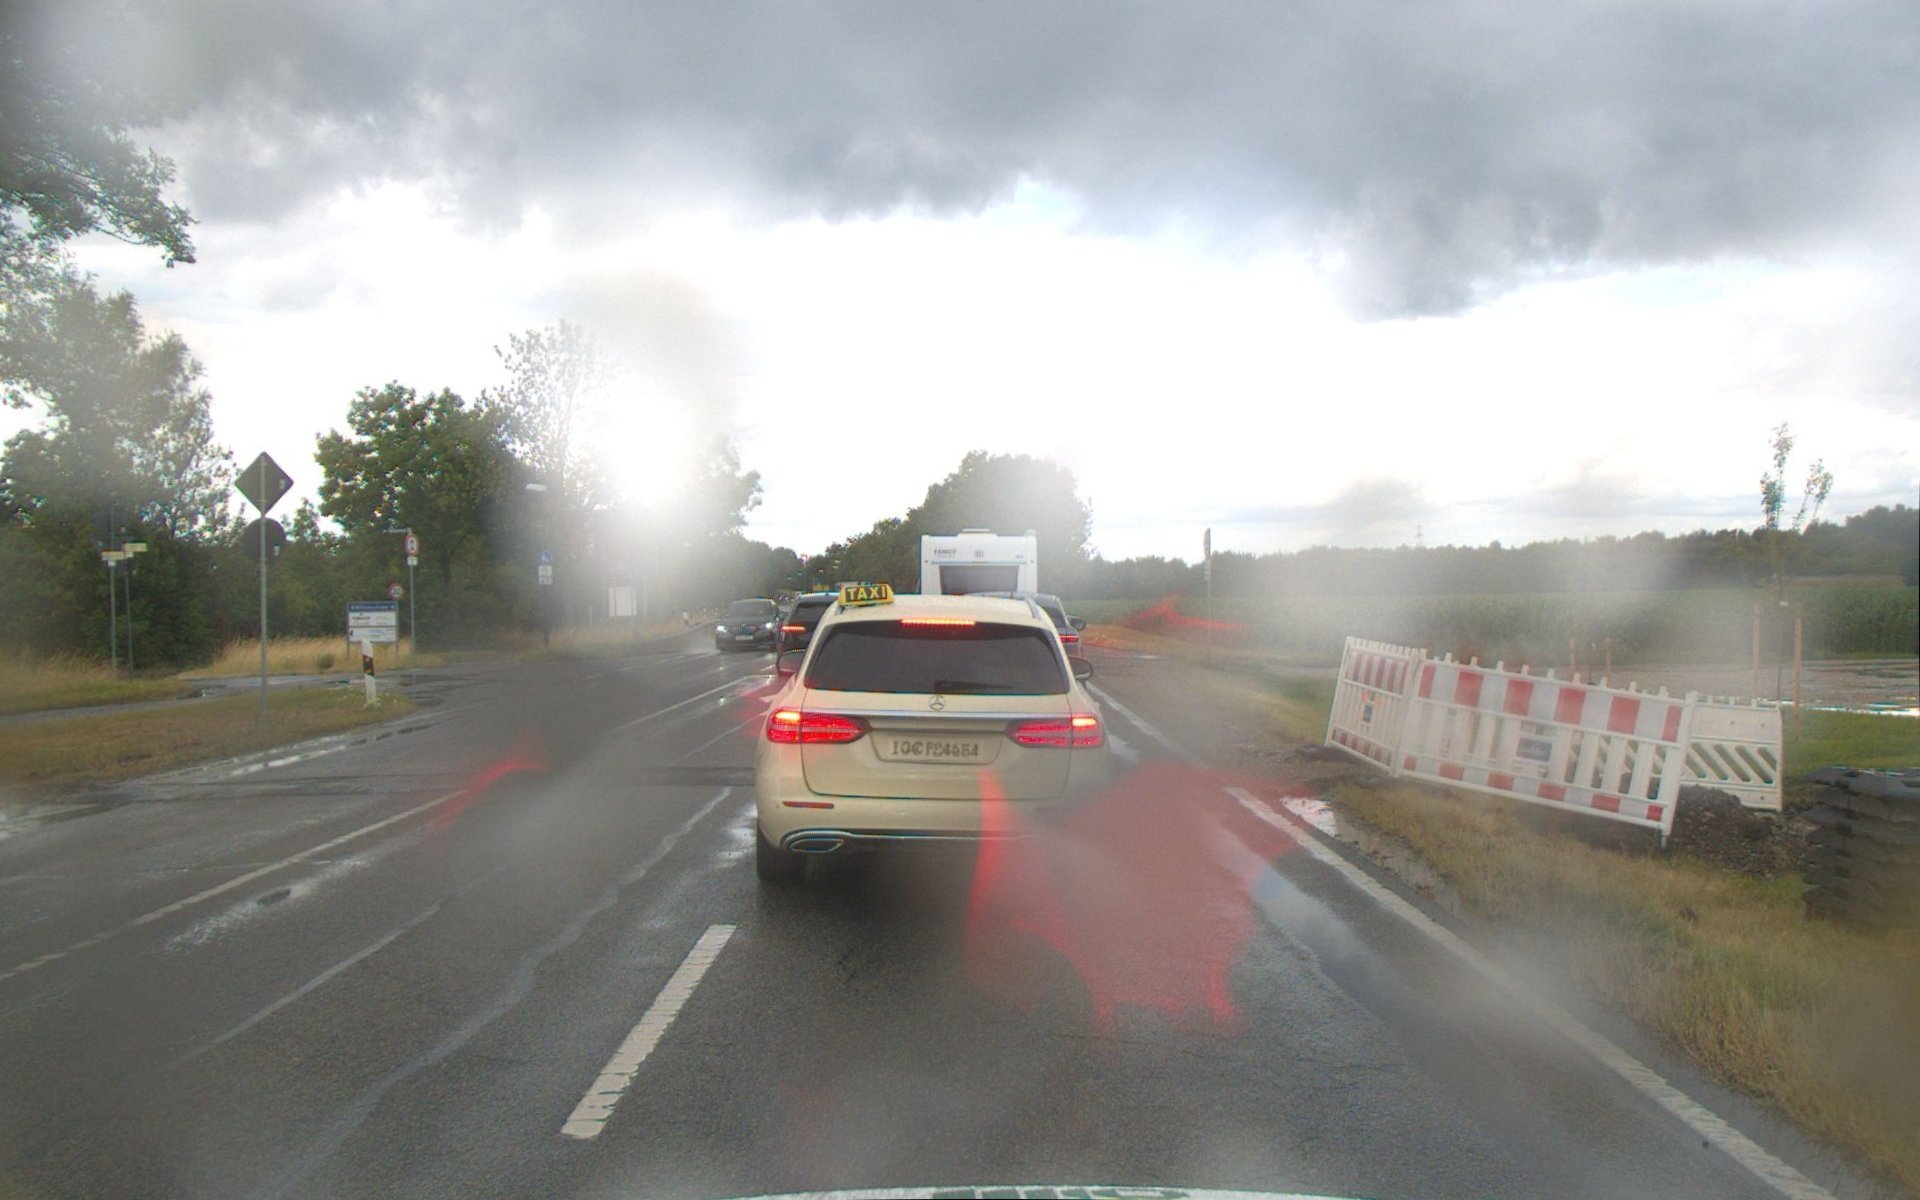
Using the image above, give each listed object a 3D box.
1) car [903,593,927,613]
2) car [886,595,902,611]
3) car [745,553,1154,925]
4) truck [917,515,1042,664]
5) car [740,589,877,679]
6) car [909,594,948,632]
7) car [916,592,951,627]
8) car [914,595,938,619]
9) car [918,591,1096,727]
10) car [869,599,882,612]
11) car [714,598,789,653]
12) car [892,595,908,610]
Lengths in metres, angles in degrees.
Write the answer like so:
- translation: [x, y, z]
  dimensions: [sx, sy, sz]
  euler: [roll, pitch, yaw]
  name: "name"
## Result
- translation: [-4.260, 0.298, 156.133]
  dimensions: [1.954, 1.803, 3.996]
  euler: [-1, 0, -5]
  name: "car"
- translation: [-8.407, 0.375, 209.905]
  dimensions: [1.858, 1.928, 3.840]
  euler: [-1, 0, -4]
  name: "car"
- translation: [-0.072, 0.618, 9.357]
  dimensions: [1.805, 1.646, 3.999]
  euler: [0, 0, -1]
  name: "car"
- translation: [0.315, -0.213, 34.972]
  dimensions: [2.315, 2.776, 7.313]
  euler: [-1, 0, -1]
  name: "truck"
- translation: [-2.814, 0.614, 31.829]
  dimensions: [2.255, 1.574, 4.631]
  euler: [1, 0, -1]
  name: "car"
- translation: [-1.602, 0.644, 85.365]
  dimensions: [1.876, 1.873, 3.796]
  euler: [-1, 0, 0]
  name: "car"
- translation: [-1.578, 0.574, 99.810]
  dimensions: [1.952, 2.049, 4.001]
  euler: [-1, 0, 1]
  name: "car"
- translation: [-2.646, 0.517, 129.273]
  dimensions: [1.755, 1.808, 3.720]
  euler: [-1, 0, -1]
  name: "car"
- translation: [0.497, 0.661, 20.450]
  dimensions: [1.953, 1.488, 3.999]
  euler: [1, 0, -1]
  name: "car"
- translation: [-12.650, 0.755, 247.915]
  dimensions: [1.857, 1.871, 3.881]
  euler: [-1, 0, -1]
  name: "car"
- translation: [-5.994, 0.711, 47.844]
  dimensions: [1.685, 1.429, 4.042]
  euler: [-3, 0, -2]
  name: "car"
- translation: [-7.193, 0.270, 196.834]
  dimensions: [1.715, 1.691, 3.668]
  euler: [-1, 0, -5]
  name: "car"
